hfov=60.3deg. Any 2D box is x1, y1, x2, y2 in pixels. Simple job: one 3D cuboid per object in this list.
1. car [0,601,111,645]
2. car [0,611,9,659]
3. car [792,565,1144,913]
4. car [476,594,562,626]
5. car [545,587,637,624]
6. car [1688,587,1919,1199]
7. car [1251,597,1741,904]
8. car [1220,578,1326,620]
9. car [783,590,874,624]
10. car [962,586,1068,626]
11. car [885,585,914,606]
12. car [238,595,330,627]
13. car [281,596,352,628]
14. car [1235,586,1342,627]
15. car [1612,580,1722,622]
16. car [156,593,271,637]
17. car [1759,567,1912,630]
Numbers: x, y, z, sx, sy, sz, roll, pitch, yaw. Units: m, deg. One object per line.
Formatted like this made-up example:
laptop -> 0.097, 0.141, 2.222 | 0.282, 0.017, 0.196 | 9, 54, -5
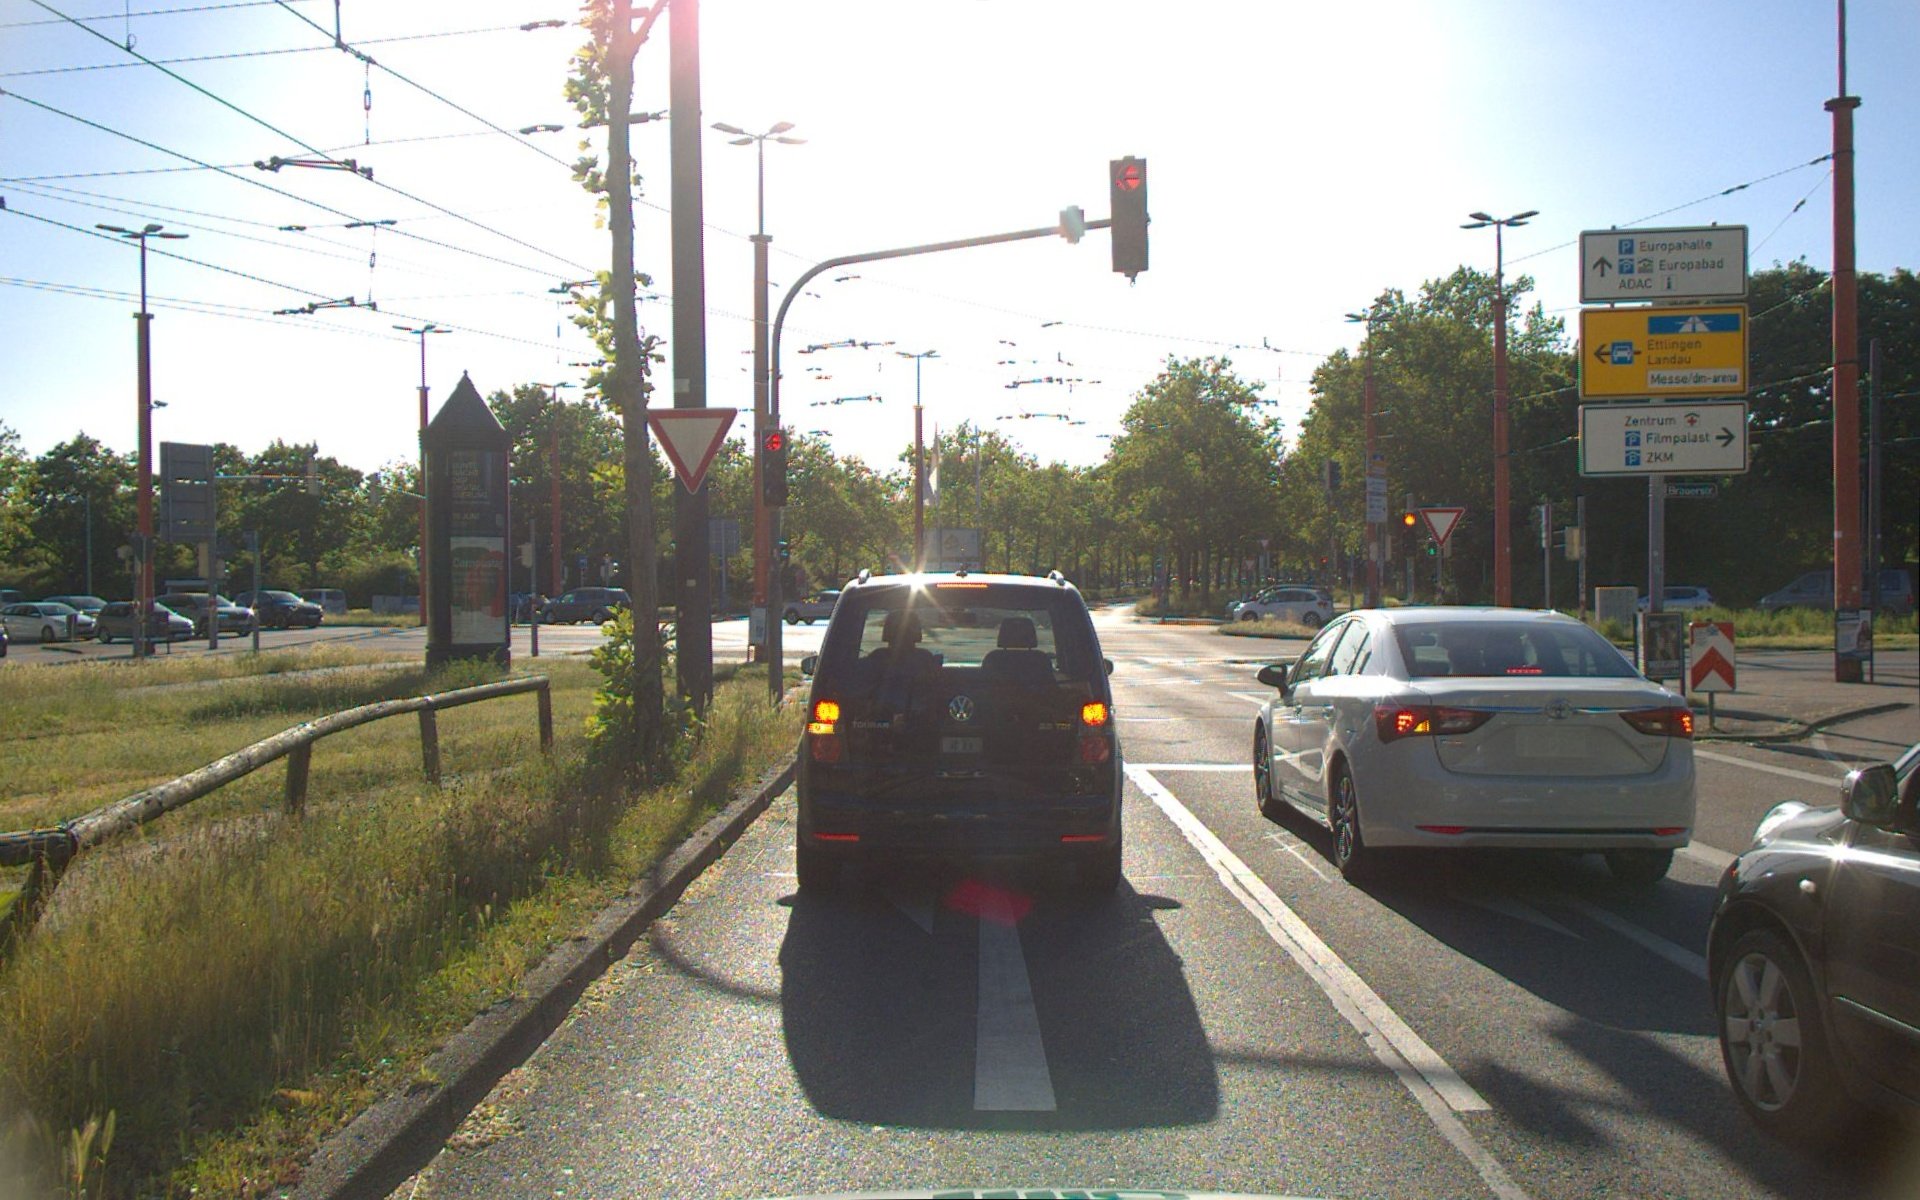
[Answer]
car -> -34.622, 0.854, 63.099 | 4.091, 1.640, 1.867 | 0, 0, 25
car -> -30.285, 1.062, 50.840 | 1.779, 1.415, 2.822 | 0, 0, -29
car -> 0.005, 0.655, 9.805 | 1.666, 1.650, 3.896 | 0, 0, -1
car -> -22.719, 0.511, 85.231 | 4.040, 1.537, 1.821 | 1, 0, 26
car -> -17.619, 0.274, 78.944 | 4.097, 1.673, 1.758 | 1, 0, 26
car -> 3.184, 0.745, 3.564 | 1.620, 1.526, 3.614 | 1, 0, 0
car -> 2.972, 0.729, 10.135 | 1.685, 1.463, 4.198 | 1, 0, 1
car -> 12.973, -0.041, 68.545 | 4.037, 1.672, 1.851 | 0, 0, 24
car -> -6.141, 0.336, 77.094 | 3.884, 1.466, 1.686 | 1, 0, 24
car -> 2.304, 0.235, 69.220 | 4.039, 1.626, 1.827 | 0, 0, 27
car -> -5.105, -0.363, 139.829 | 1.874, 1.664, 4.003 | 1, 0, 6
car -> -29.274, 0.475, 71.591 | 3.913, 1.353, 1.694 | 0, 0, 31
car -> -35.727, 0.688, 91.802 | 3.570, 1.684, 1.679 | 1, 0, 25
car -> 12.729, 0.229, 64.112 | 3.744, 1.549, 1.694 | 0, 0, 26
car -> 26.010, 0.045, 60.892 | 3.662, 1.499, 1.599 | 0, 0, 26
car -> -28.951, 0.574, 64.148 | 3.907, 1.673, 1.999 | 0, 0, 24
car -> 29.424, -0.048, 55.705 | 4.483, 2.049, 1.997 | 0, 0, 28
